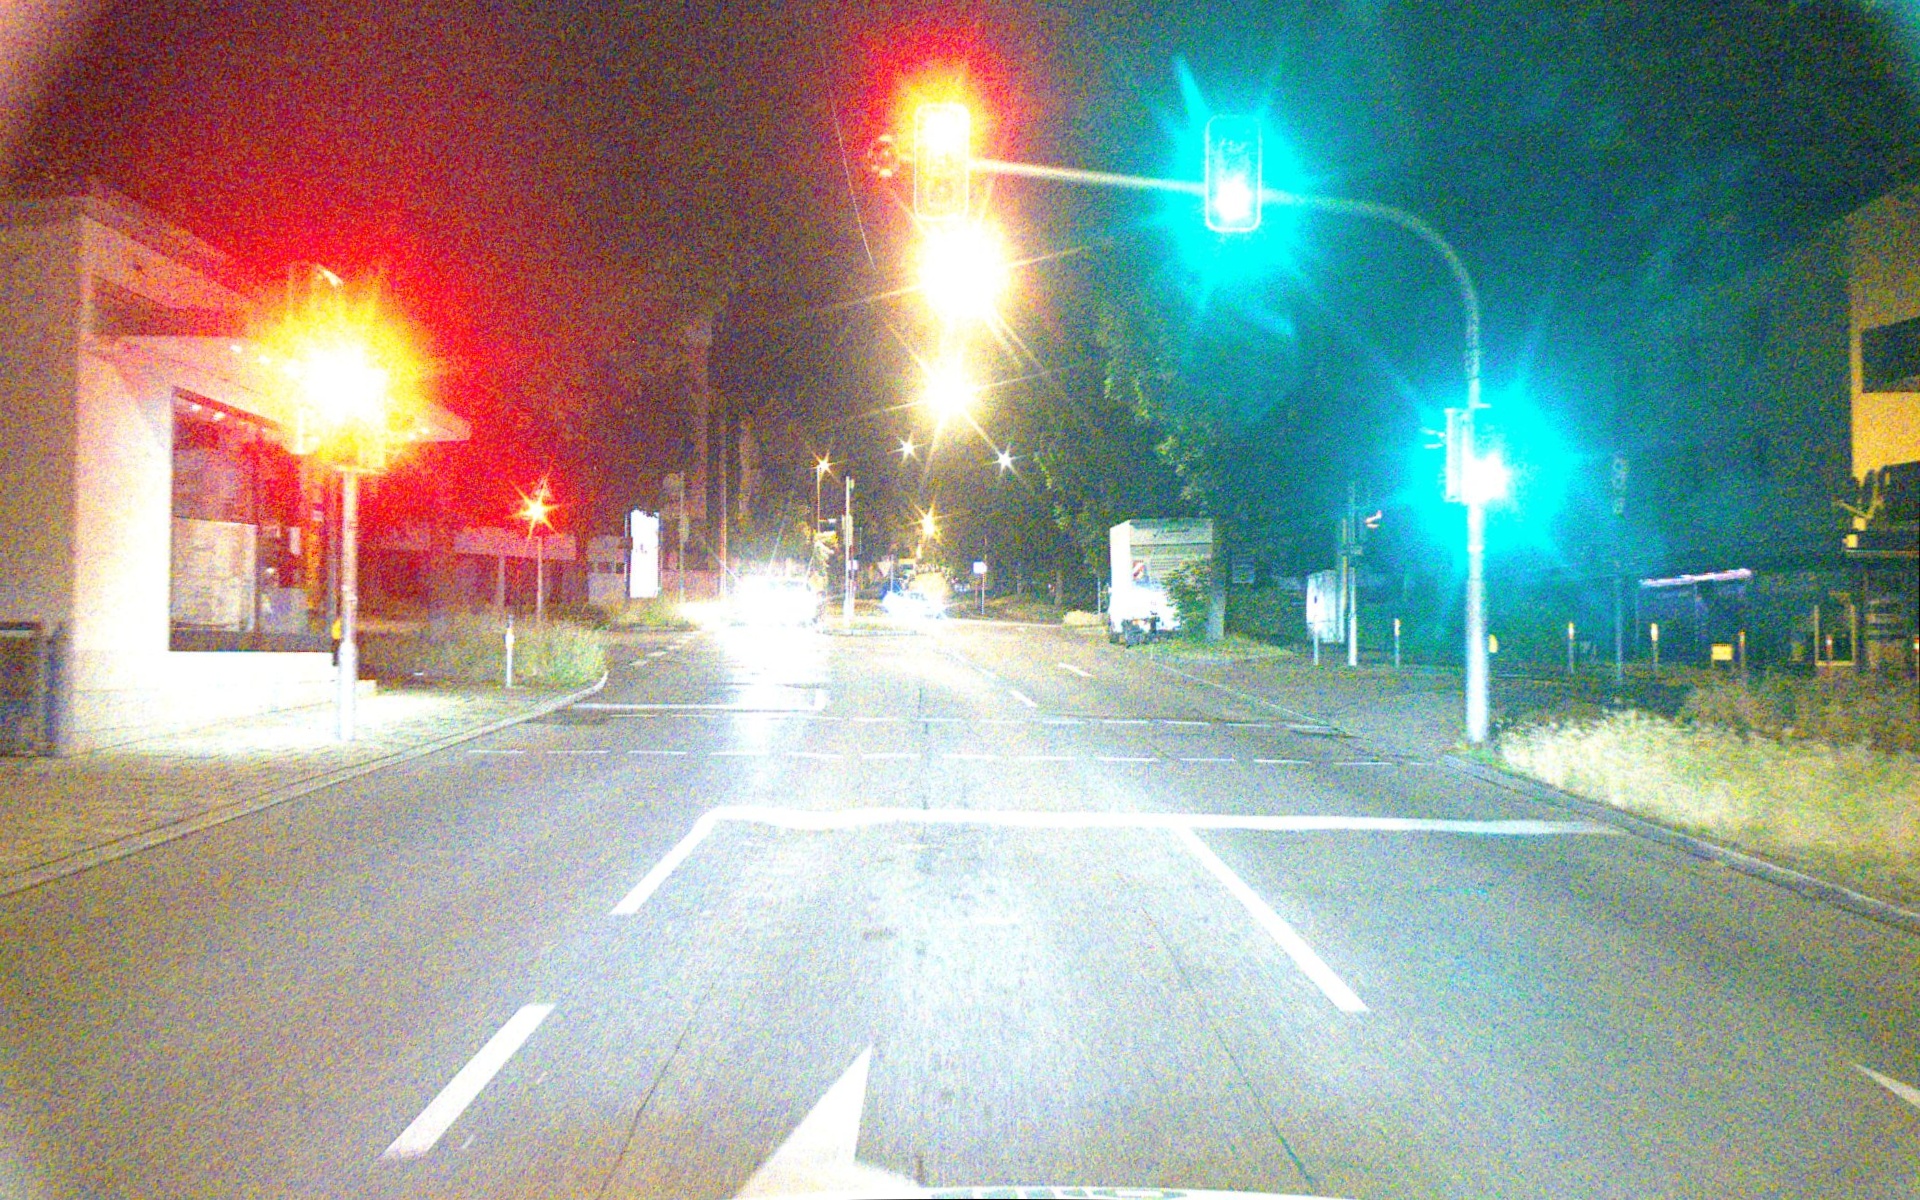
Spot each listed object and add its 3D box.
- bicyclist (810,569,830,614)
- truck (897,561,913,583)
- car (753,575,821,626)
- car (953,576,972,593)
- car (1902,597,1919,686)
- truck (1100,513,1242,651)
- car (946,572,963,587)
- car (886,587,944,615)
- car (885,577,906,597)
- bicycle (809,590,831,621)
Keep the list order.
[{"bbox_3d":[-5.281,-0.318,62.579,0.676,1.666,0.896,1,0,-1],"label":"bicyclist"},{"bbox_3d":[-7.187,-3.637,216.539,2.045,2.897,5.828,1,1,-3],"label":"truck"},{"bbox_3d":[-5.564,0.001,53.611,1.819,1.561,4.027,1,1,-1],"label":"car"},{"bbox_3d":[0.191,-1.428,150.408,1.601,1.477,3.484,1,1,-1],"label":"car"},{"bbox_3d":[16.205,0.488,23.927,4.044,1.302,1.767,-4,-1,6],"label":"car"},{"bbox_3d":[5.179,-0.448,41.696,2.693,3.164,6.258,1,1,-1],"label":"truck"},{"bbox_3d":[-0.567,-2.066,166.340,1.601,1.477,3.484,1,1,-1],"label":"car"},{"bbox_3d":[-2.505,0.038,91.307,1.888,1.413,4.556,1,1,-20],"label":"car"},{"bbox_3d":[-5.512,-1.143,141.687,1.778,1.713,3.999,1,1,-1],"label":"car"},{"bbox_3d":[-5.289,0.208,62.627,0.682,1.169,1.950,1,0,-1],"label":"bicycle"}]
